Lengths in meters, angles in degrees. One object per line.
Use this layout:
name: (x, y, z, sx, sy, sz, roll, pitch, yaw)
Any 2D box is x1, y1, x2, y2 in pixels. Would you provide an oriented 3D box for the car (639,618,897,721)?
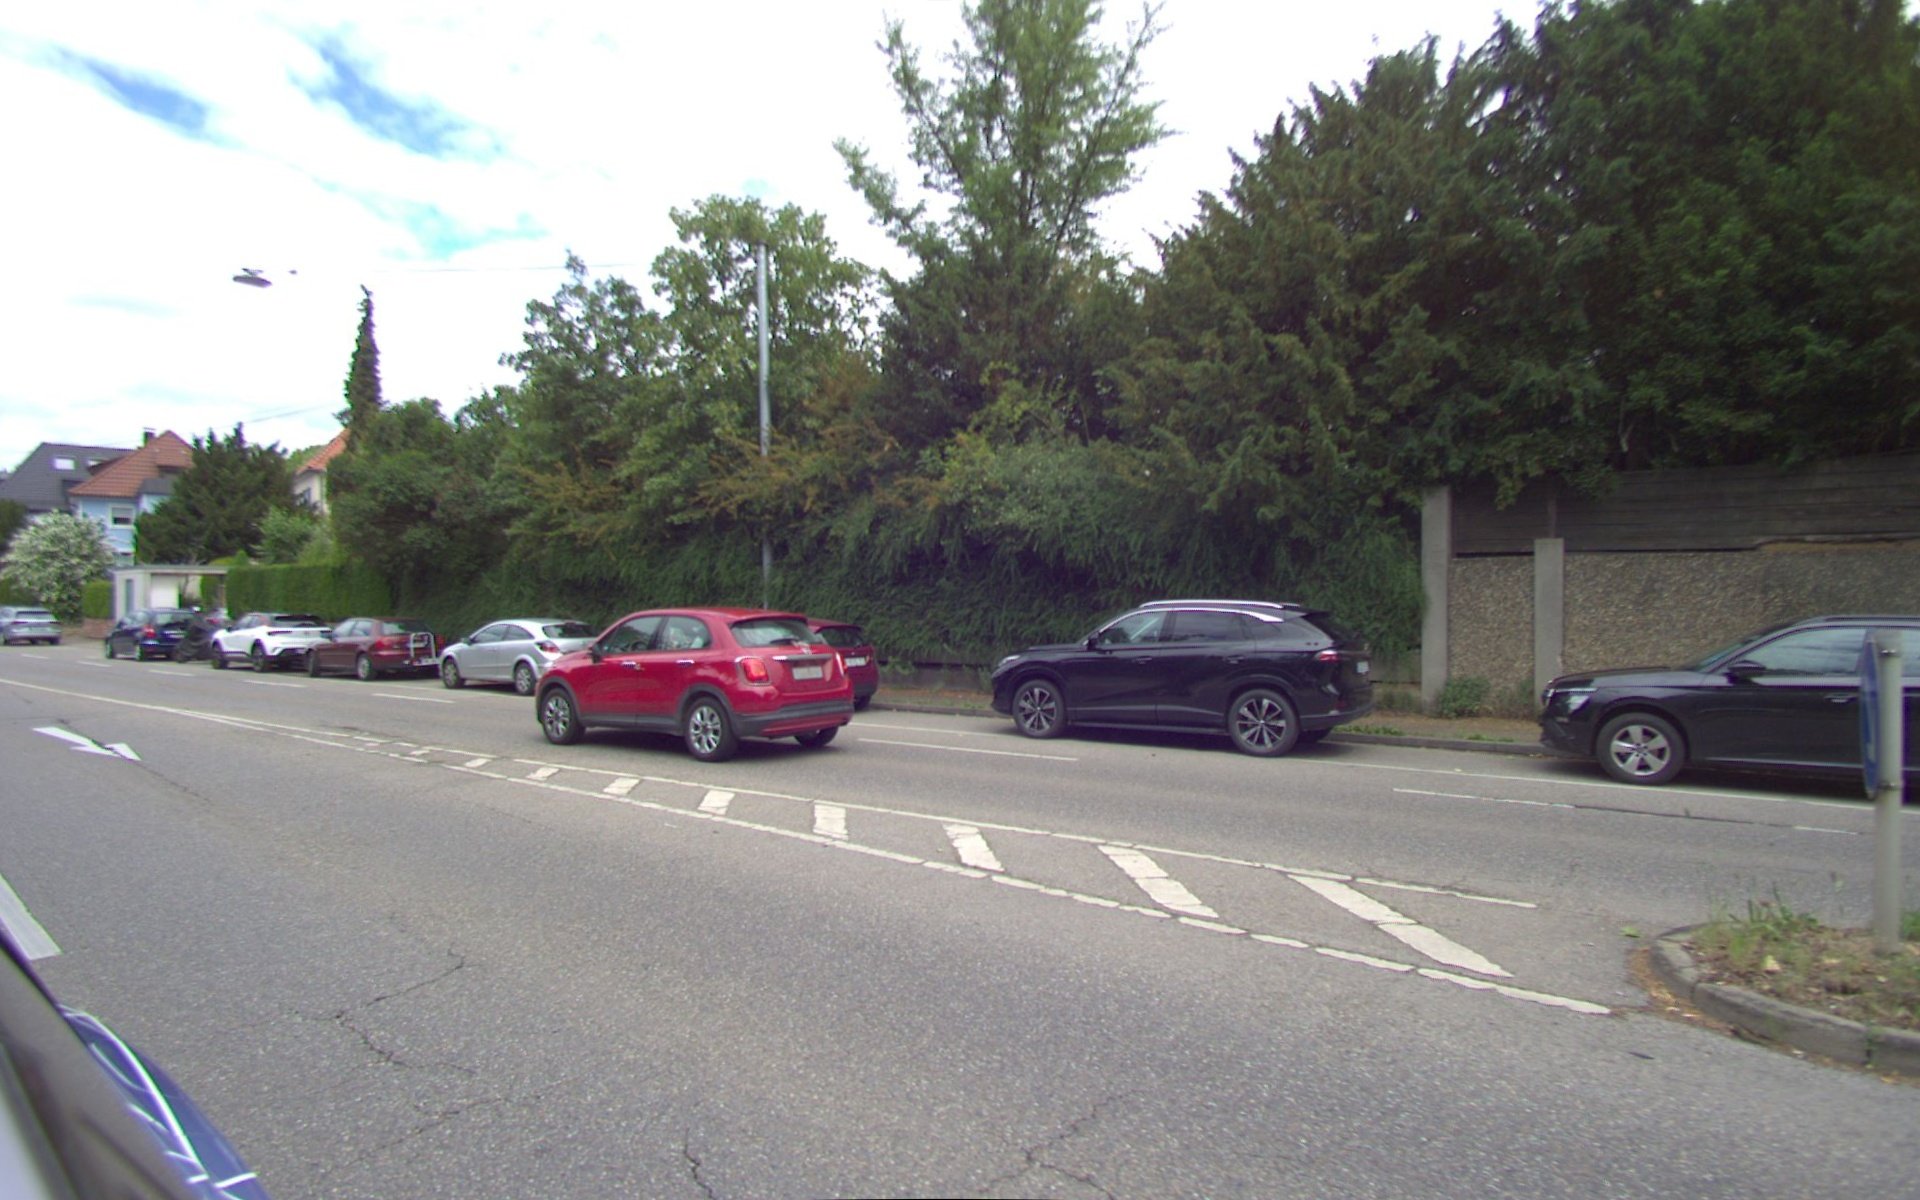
car: (-3.120, 1.017, 16.220, 3.989, 1.449, 1.765, 0, -1, 34)

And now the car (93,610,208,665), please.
car: (-25.034, 1.119, 31.265, 3.961, 1.568, 1.664, 0, -1, 34)

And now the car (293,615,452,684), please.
car: (-13.716, 1.096, 23.594, 3.900, 1.489, 1.656, 0, -1, 34)

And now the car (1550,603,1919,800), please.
car: (7.626, 0.808, 8.900, 4.094, 1.523, 1.930, 0, -2, 35)

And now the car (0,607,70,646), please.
car: (-36.647, 1.028, 39.471, 4.401, 1.466, 1.795, 0, -3, 33)

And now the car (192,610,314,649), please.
car: (-27.188, 1.108, 38.966, 1.850, 1.401, 3.549, 0, 0, 43)

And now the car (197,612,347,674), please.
car: (-18.193, 1.091, 26.729, 4.016, 1.506, 1.874, 0, -2, 34)

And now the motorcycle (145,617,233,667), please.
motorcycle: (-22.191, 1.224, 29.120, 2.288, 1.366, 0.883, -2, -3, 19)

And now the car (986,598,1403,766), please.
car: (2.705, 0.830, 12.028, 4.453, 1.655, 1.977, 0, -1, 33)

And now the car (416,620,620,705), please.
car: (-8.856, 1.169, 20.155, 4.420, 1.499, 1.655, 0, -1, 35)
